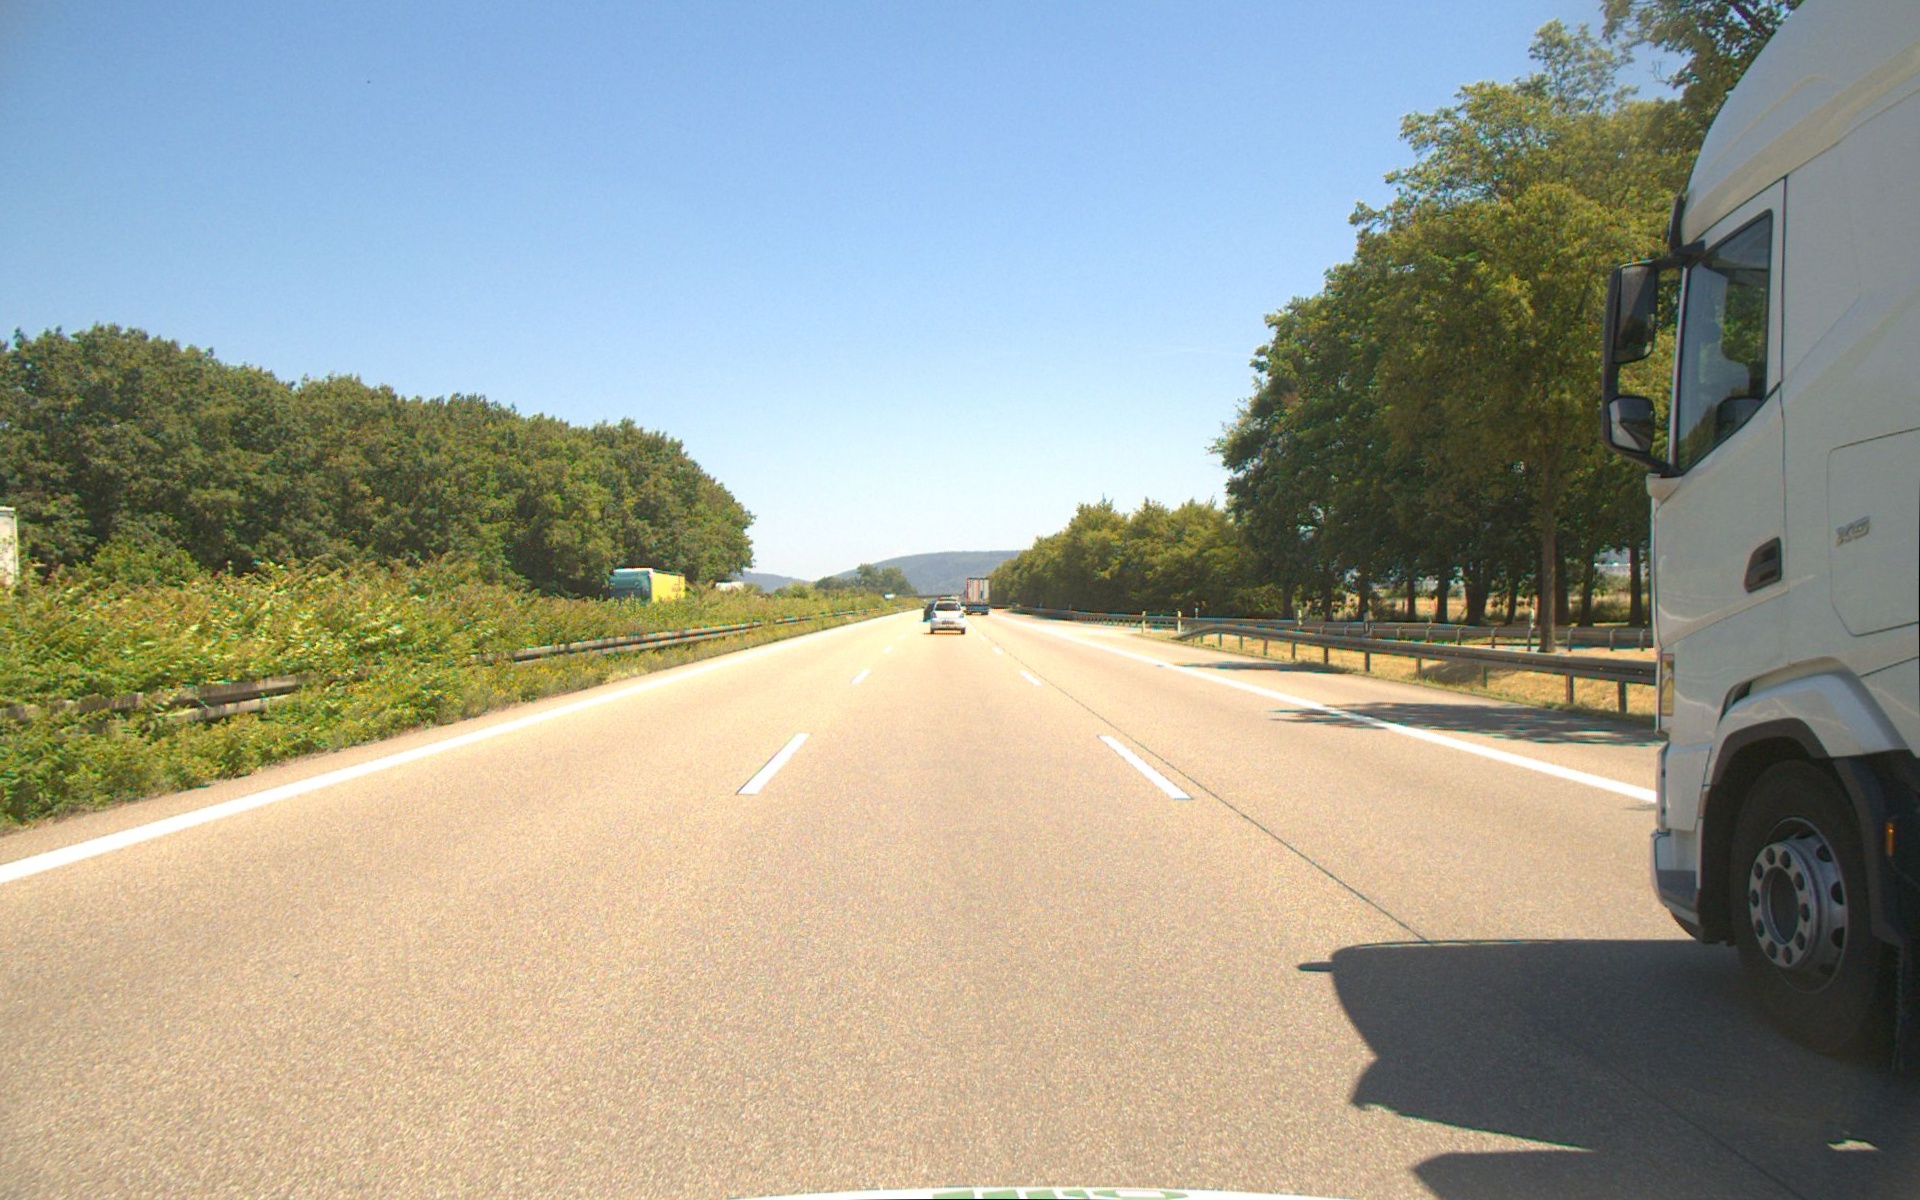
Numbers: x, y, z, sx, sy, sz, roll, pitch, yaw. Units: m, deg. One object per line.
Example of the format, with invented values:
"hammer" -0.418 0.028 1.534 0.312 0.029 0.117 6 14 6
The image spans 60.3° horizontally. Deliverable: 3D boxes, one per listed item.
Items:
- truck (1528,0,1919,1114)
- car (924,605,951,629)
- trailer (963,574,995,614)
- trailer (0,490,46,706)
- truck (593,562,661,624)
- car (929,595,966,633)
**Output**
"truck" 4.153 -0.699 4.304 2.798 4.347 6.861 1 0 -2
"car" -1.676 1.293 124.697 1.953 1.742 3.999 1 0 -1
"trailer" 2.230 -0.672 191.492 3.151 4.421 13.633 1 0 3
"trailer" -20.555 -0.078 29.012 2.844 4.347 11.485 1 0 -2
"truck" -21.527 -0.425 107.303 3.133 3.892 6.393 1 0 -1
"car" -0.592 0.644 78.357 1.697 1.713 3.999 -1 0 -1
